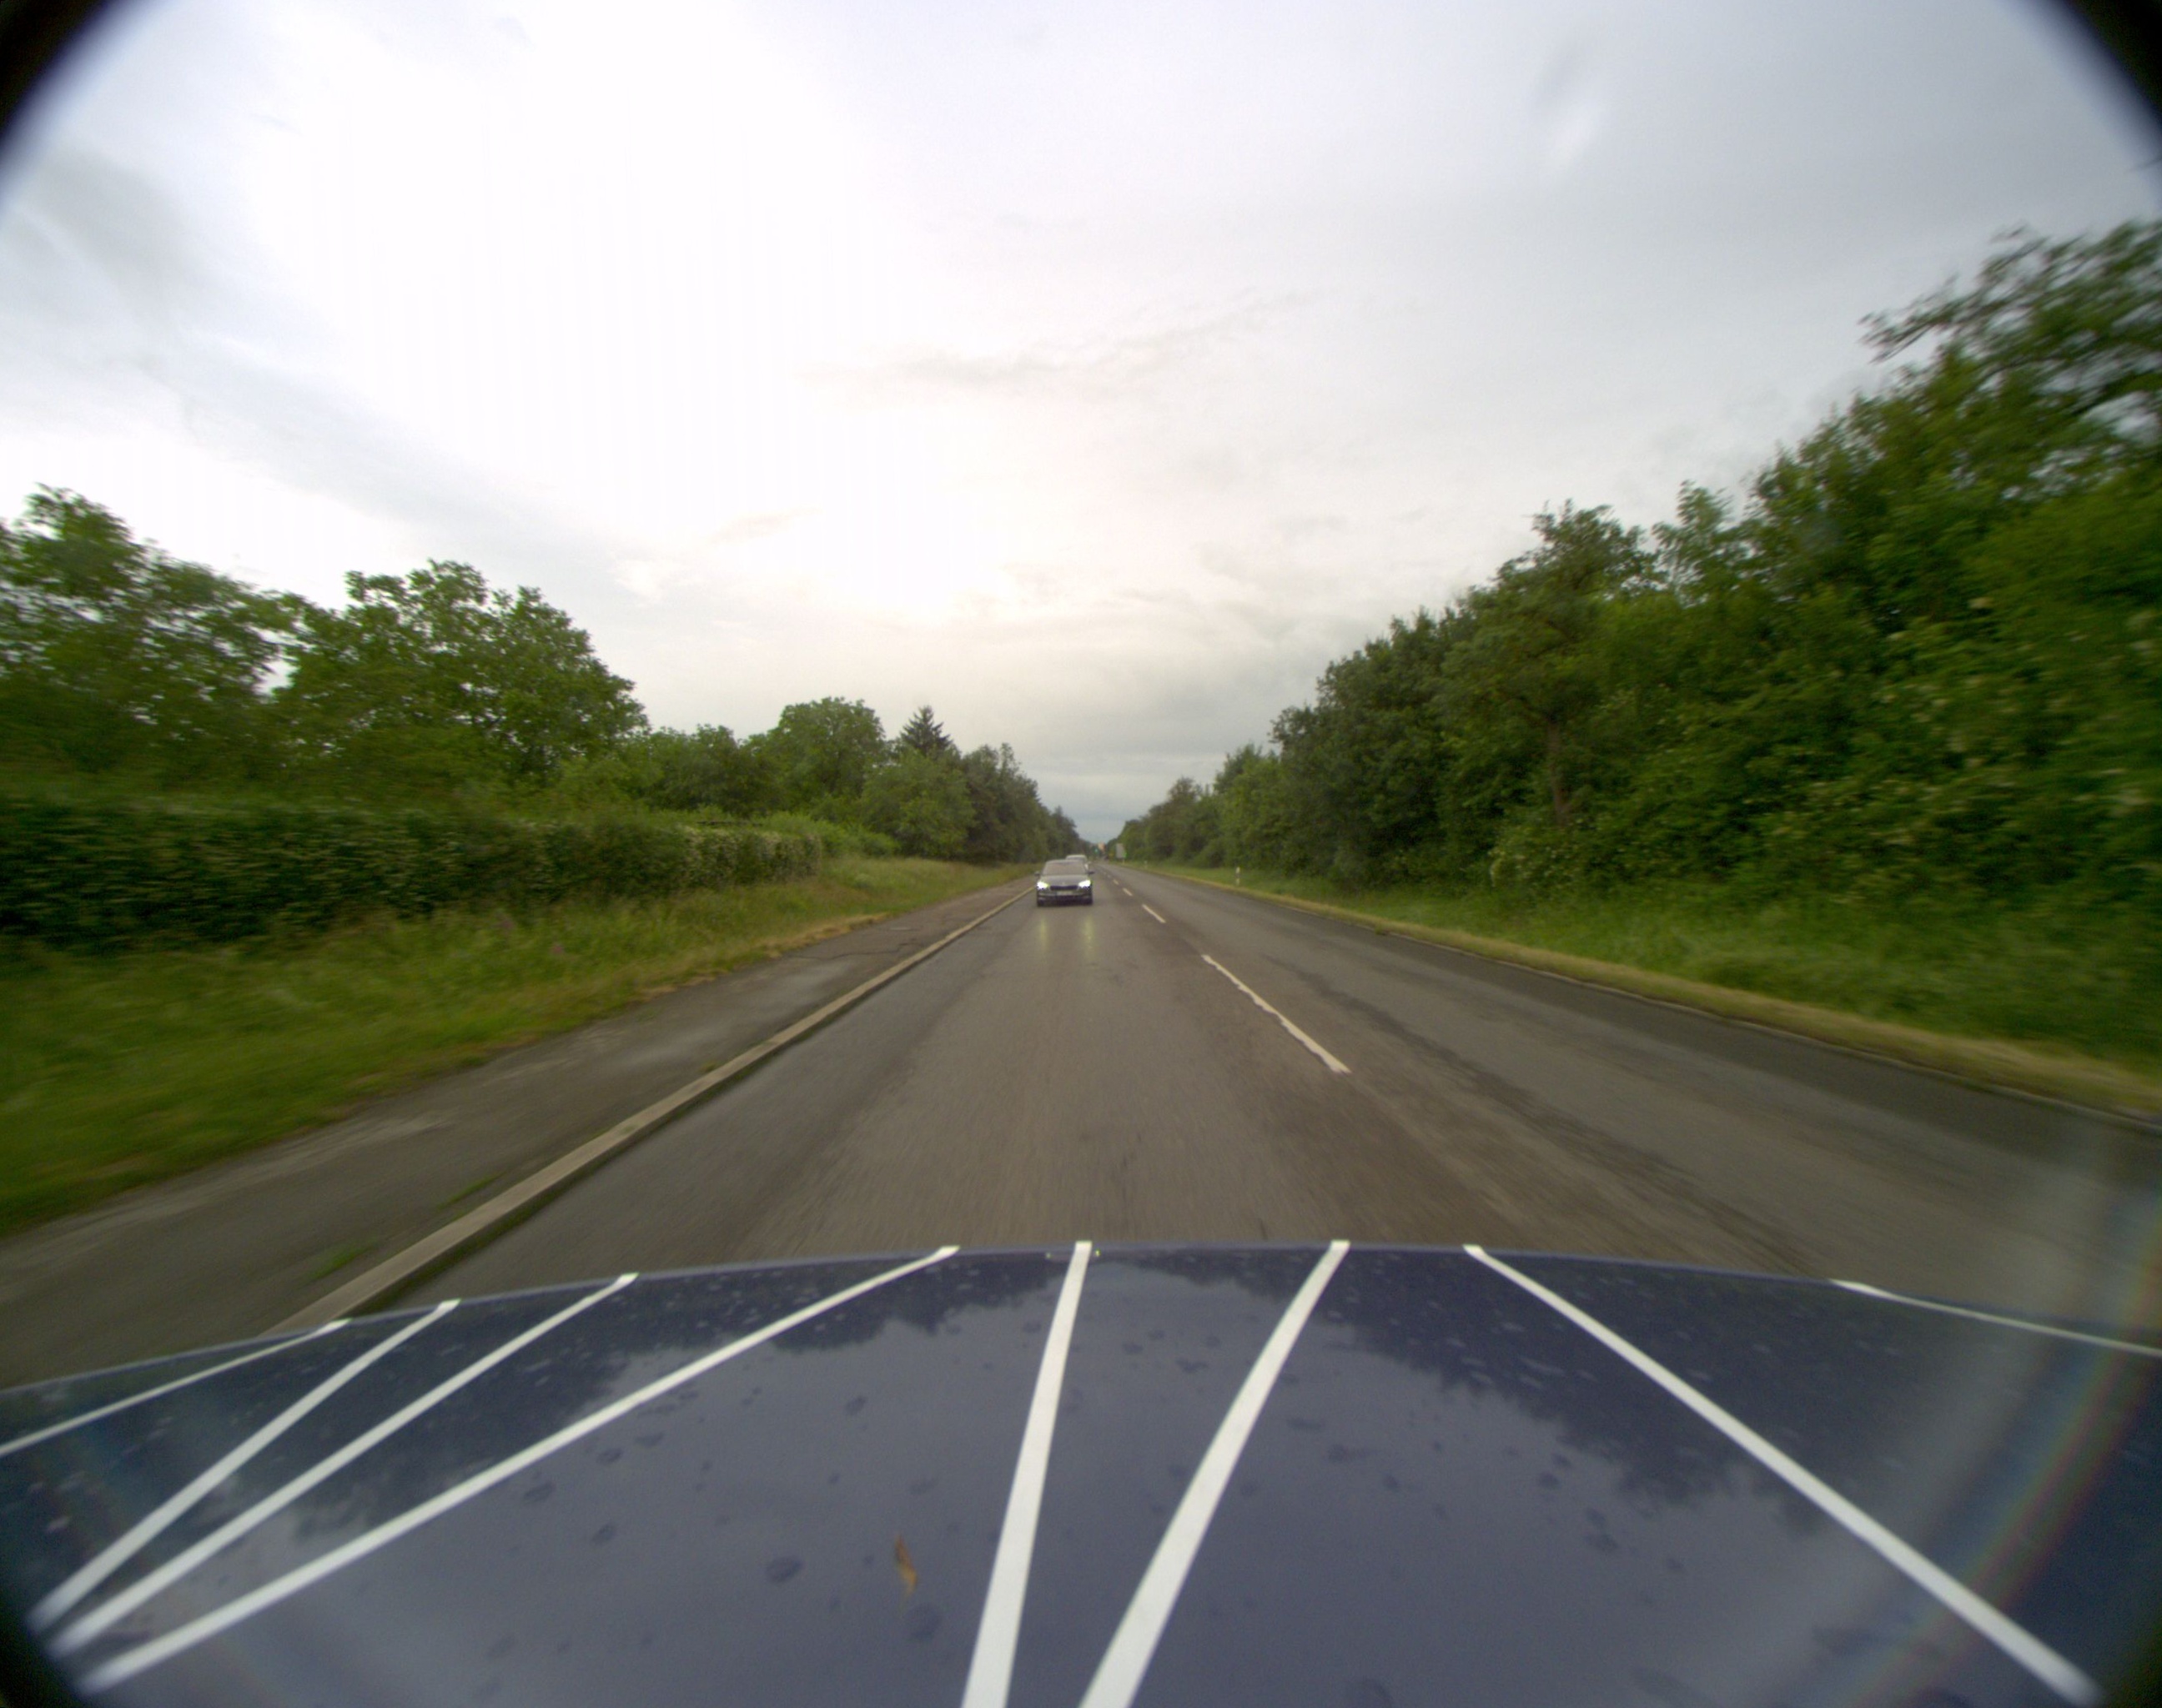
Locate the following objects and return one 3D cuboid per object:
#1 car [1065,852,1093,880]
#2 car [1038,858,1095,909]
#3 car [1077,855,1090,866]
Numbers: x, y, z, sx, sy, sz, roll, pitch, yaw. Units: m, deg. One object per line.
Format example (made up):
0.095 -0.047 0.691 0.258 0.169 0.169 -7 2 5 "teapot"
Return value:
-0.143 0.750 49.119 1.704 1.723 3.999 -1 0 -1 "car"
-0.437 0.928 25.398 1.675 1.477 4.215 -3 -1 0 "car"
0.385 0.939 113.484 1.856 1.686 4.000 0 0 1 "car"
